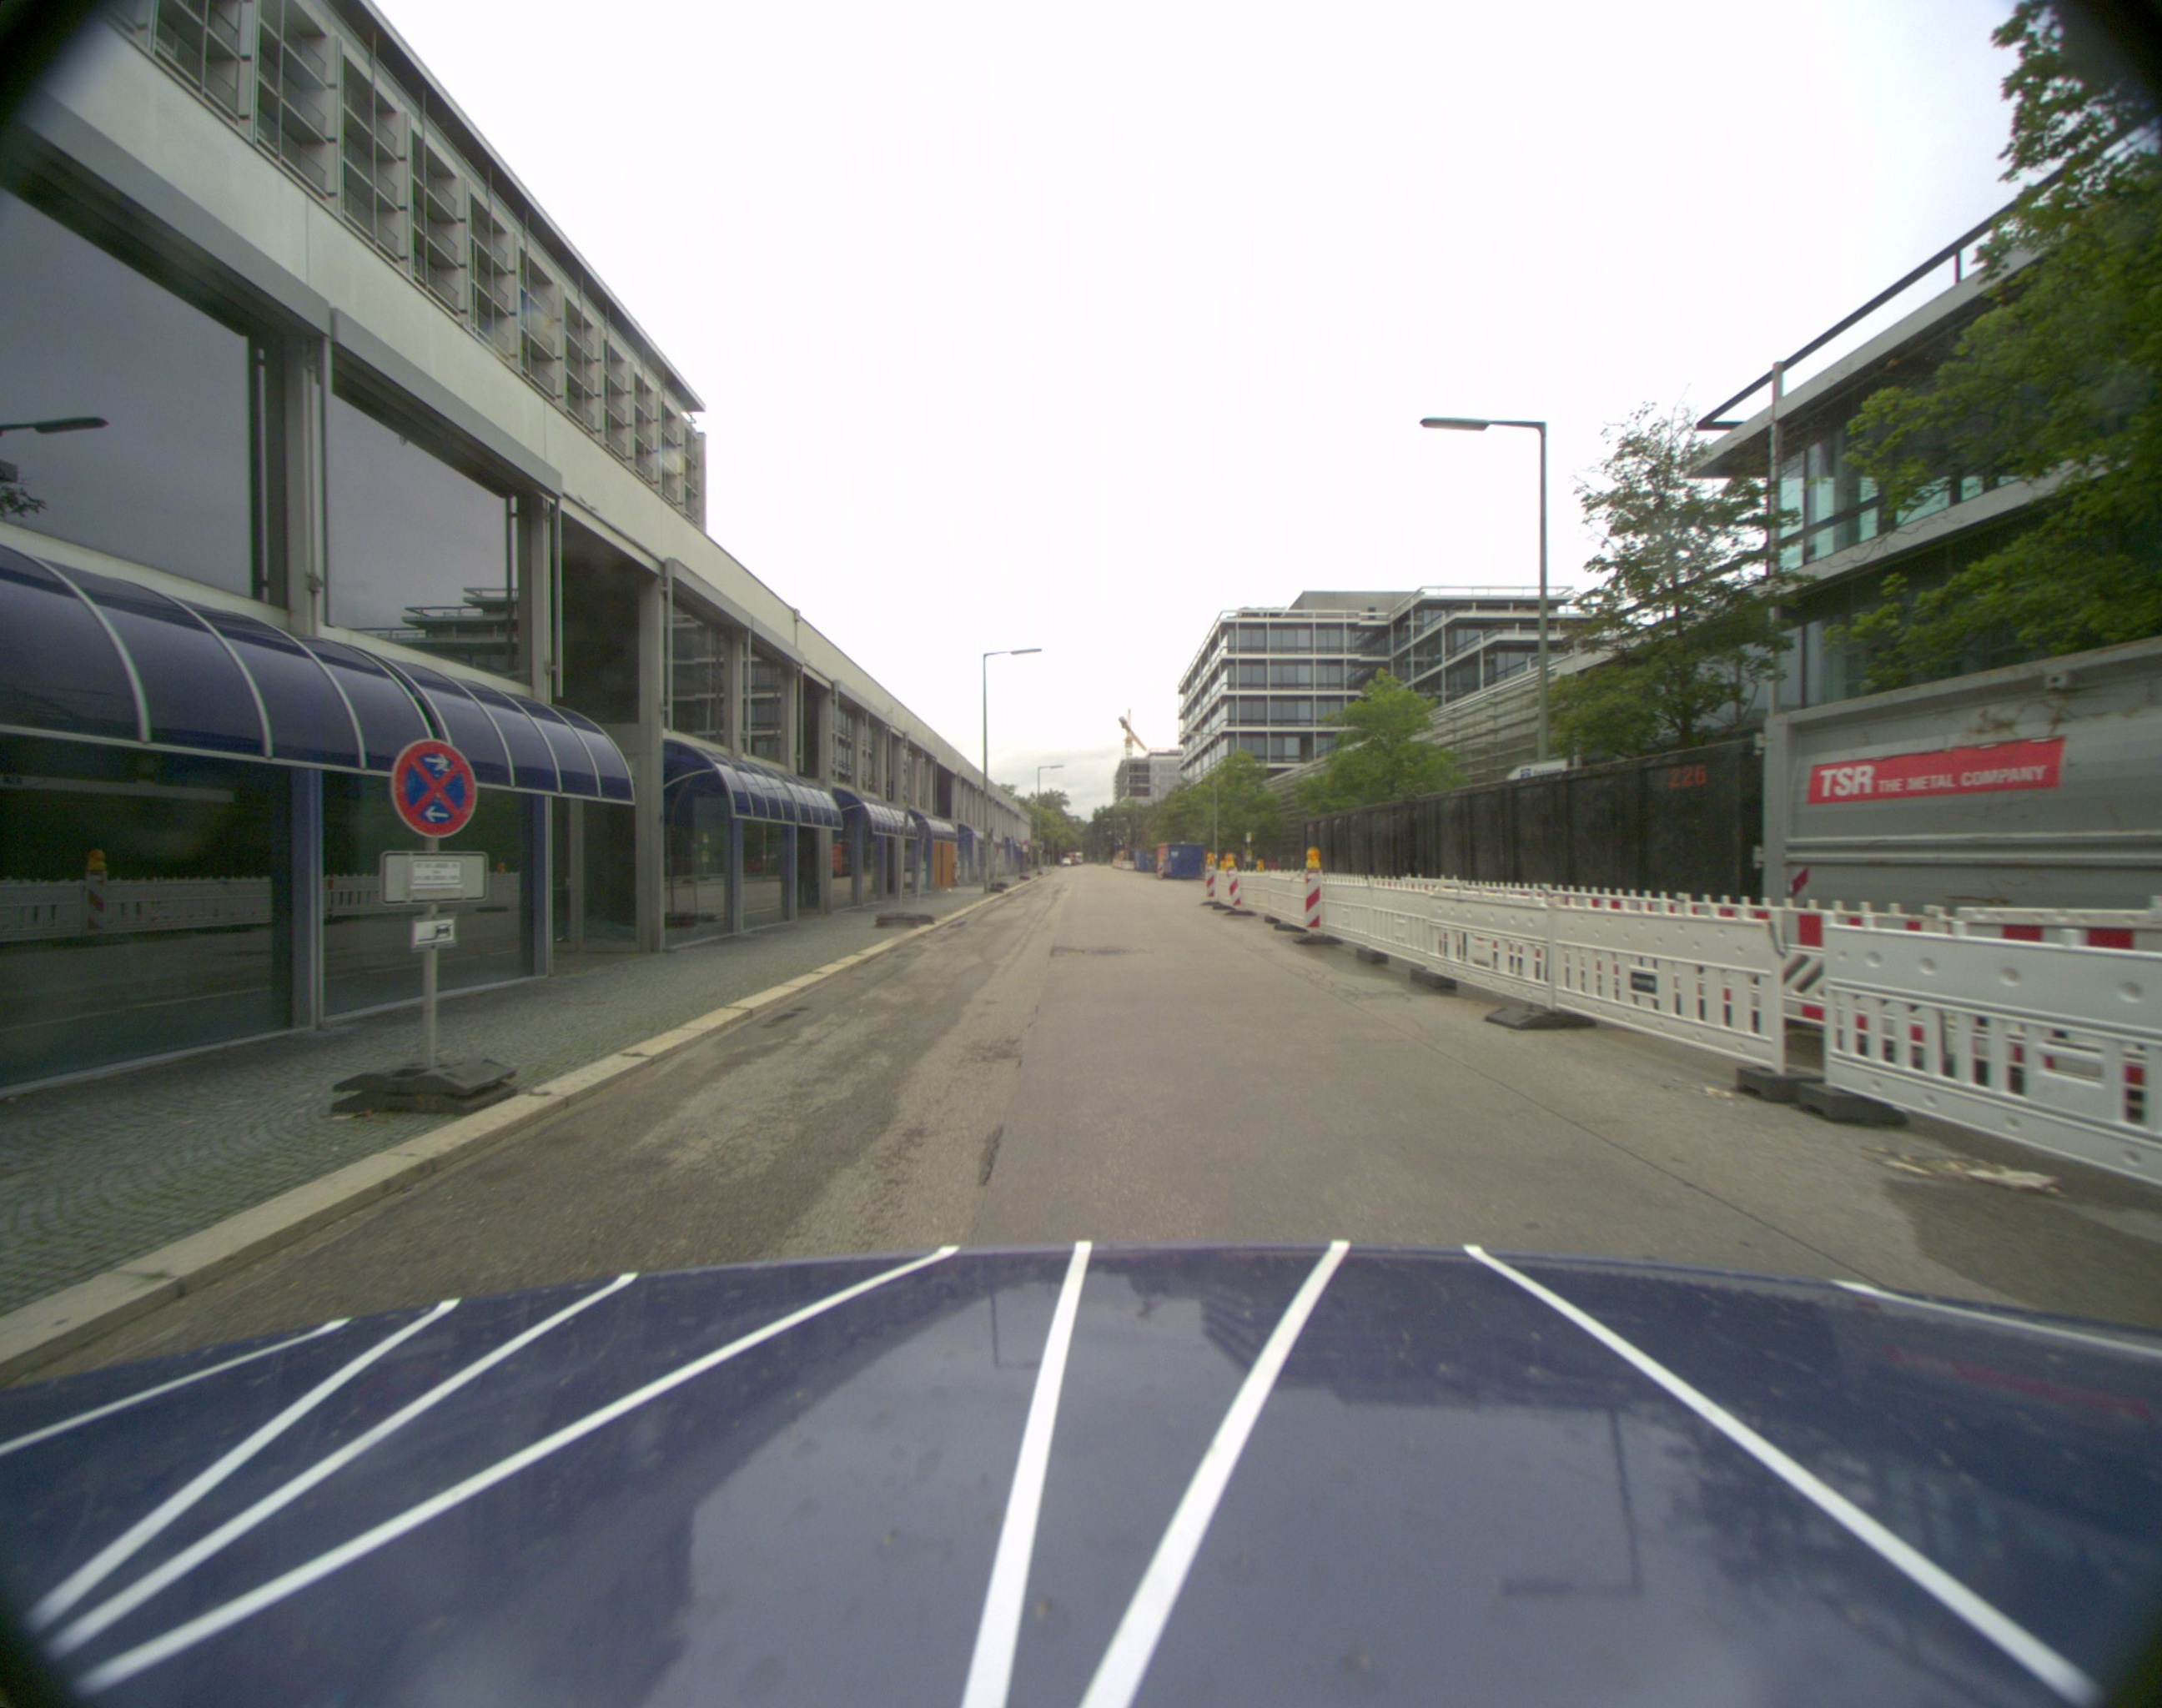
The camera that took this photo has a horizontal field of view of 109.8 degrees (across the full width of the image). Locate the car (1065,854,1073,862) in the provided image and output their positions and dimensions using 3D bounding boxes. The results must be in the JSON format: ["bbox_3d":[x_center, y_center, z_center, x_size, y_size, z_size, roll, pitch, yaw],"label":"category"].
[{"bbox_3d":[-2.336,0.806,146.092,1.536,1.483,4.059,0,1,-2],"label":"car"}]

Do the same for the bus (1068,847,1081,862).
[{"bbox_3d":[-1.333,0.105,153.120,2.077,2.789,6.274,0,0,5],"label":"bus"}]

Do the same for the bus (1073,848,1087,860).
[{"bbox_3d":[-0.272,0.029,167.042,2.076,2.714,5.871,0,0,9],"label":"bus"}]

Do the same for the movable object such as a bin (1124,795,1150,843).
[{"bbox_3d":[8.160,-4.934,111.584,2.912,6.526,11.782,0,1,0],"label":"movable object such as a bin"}]
